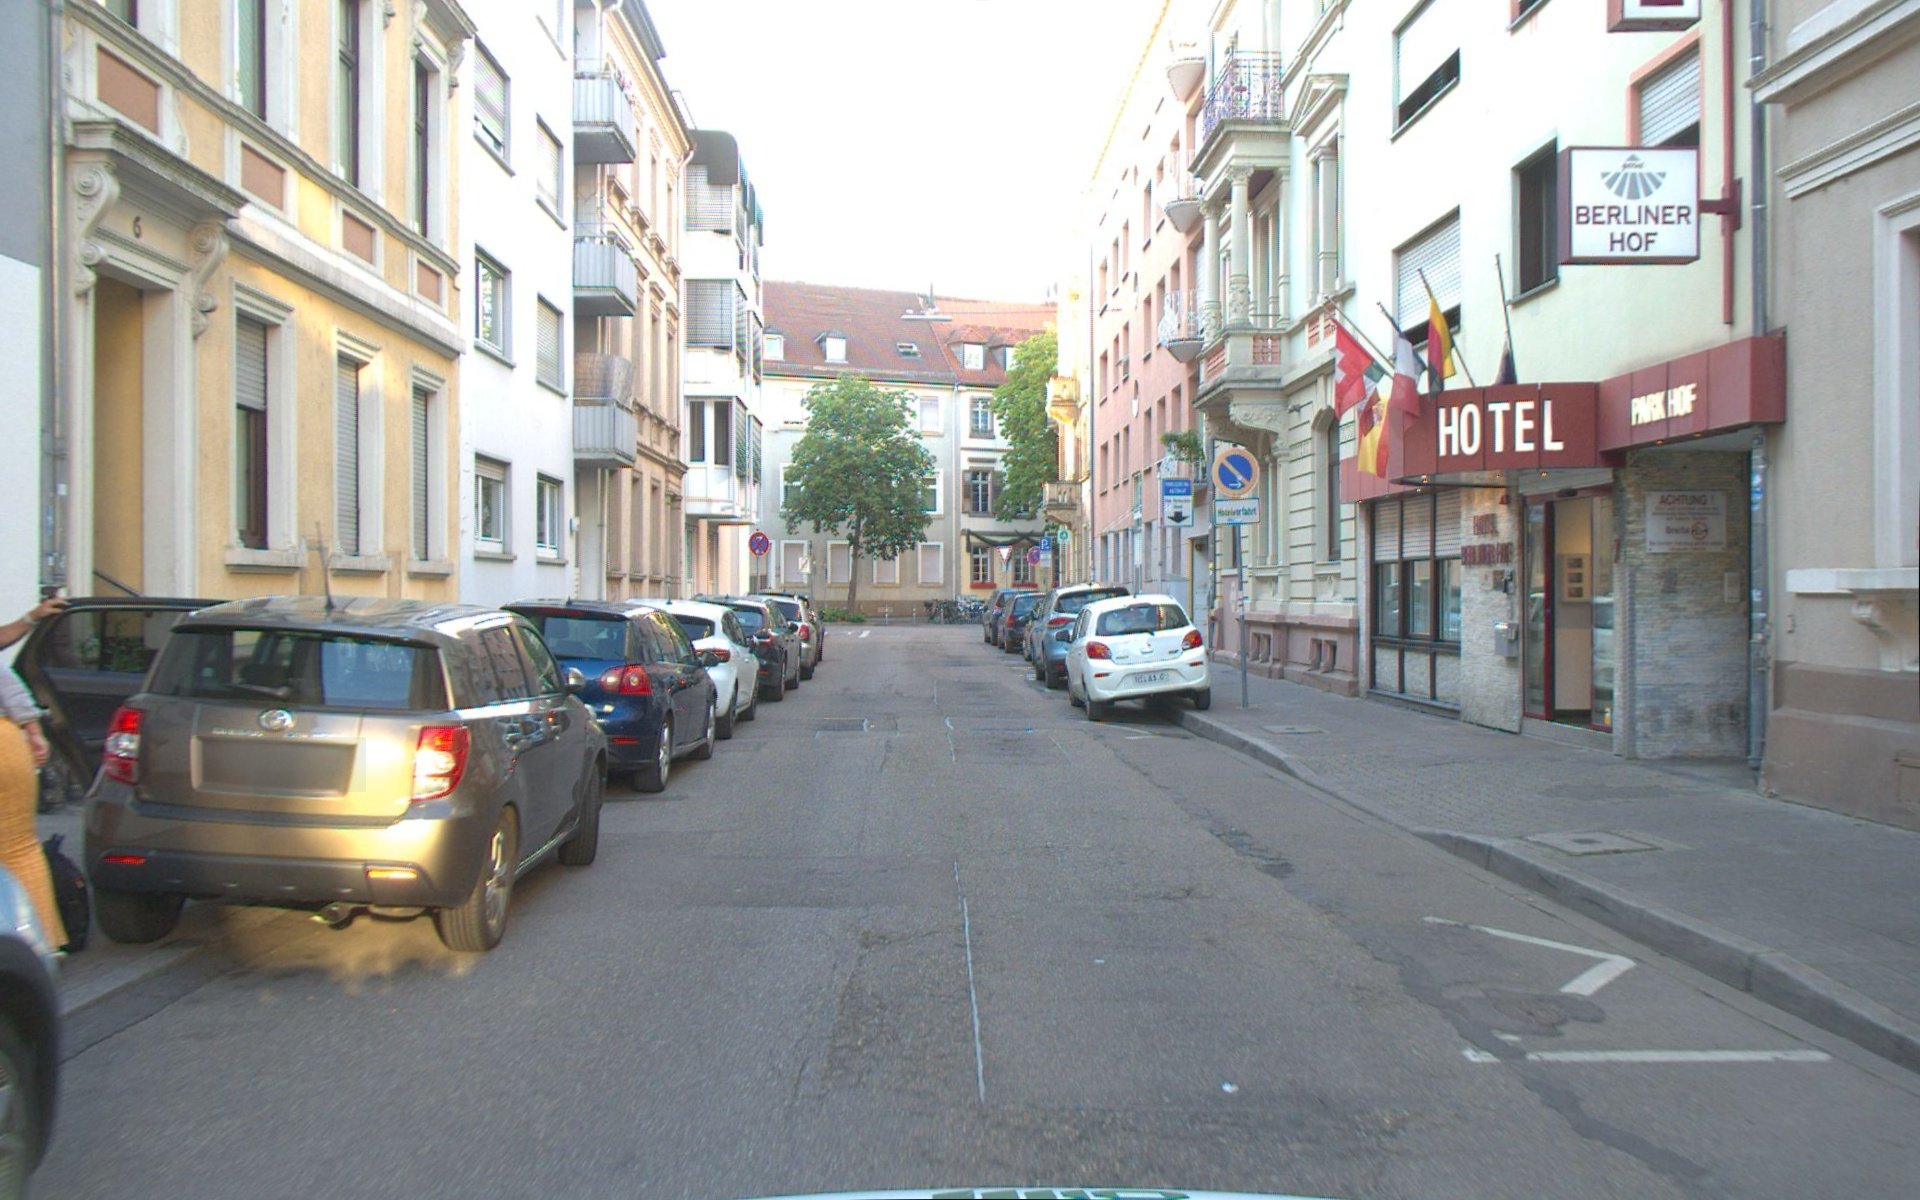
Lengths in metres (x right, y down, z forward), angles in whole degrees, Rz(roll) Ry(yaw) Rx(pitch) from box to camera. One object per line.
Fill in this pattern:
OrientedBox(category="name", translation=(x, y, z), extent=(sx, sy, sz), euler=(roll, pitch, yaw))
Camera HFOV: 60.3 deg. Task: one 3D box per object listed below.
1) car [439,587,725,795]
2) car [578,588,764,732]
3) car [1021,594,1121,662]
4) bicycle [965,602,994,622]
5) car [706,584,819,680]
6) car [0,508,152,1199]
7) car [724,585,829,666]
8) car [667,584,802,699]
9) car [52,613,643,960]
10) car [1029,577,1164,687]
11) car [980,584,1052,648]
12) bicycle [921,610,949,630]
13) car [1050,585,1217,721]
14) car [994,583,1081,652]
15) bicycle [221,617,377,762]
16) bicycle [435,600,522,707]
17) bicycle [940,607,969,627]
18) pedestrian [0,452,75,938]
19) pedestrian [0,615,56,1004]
OrientedBox(category="car", translation=(-3.135, 0.675, 14.470), extent=(1.693, 1.535, 3.829), euler=(0, 1, -1))
OrientedBox(category="car", translation=(-3.301, 0.628, 19.492), extent=(1.597, 1.498, 3.753), euler=(0, 1, -1))
OrientedBox(category="car", translation=(2.432, 0.589, 37.152), extent=(1.953, 1.408, 3.706), euler=(-1, 0, -1))
OrientedBox(category="bicycle", translation=(0.942, 0.580, 80.418), extent=(0.513, 0.965, 1.704), euler=(0, 0, -34))
OrientedBox(category="car", translation=(-3.693, 0.556, 31.615), extent=(1.954, 1.695, 4.405), euler=(0, 0, -5))
OrientedBox(category="car", translation=(-2.839, 0.635, 2.205), extent=(1.729, 1.591, 4.361), euler=(-1, 1, -6))
OrientedBox(category="car", translation=(-4.099, 0.539, 37.571), extent=(1.953, 1.691, 3.977), euler=(-1, 0, -1))
OrientedBox(category="car", translation=(-3.394, 0.564, 25.539), extent=(1.582, 1.597, 4.302), euler=(0, 1, -1))
OrientedBox(category="car", translation=(-2.827, 0.756, 8.643), extent=(1.649, 1.355, 4.130), euler=(0, 0, -2))
OrientedBox(category="car", translation=(2.292, 0.505, 28.705), extent=(1.953, 1.762, 4.058), euler=(-1, 0, -1))
OrientedBox(category="car", translation=(1.622, 0.442, 49.443), extent=(1.953, 1.792, 4.000), euler=(-1, 0, -1))
OrientedBox(category="bicycle", translation=(-1.228, 1.001, 81.207), extent=(0.513, 0.965, 1.704), euler=(0, -1, -34))
OrientedBox(category="car", translation=(2.237, 0.632, 22.236), extent=(1.629, 1.483, 3.758), euler=(-6, 1, -1))
OrientedBox(category="car", translation=(2.012, 0.429, 44.277), extent=(1.954, 1.738, 3.998), euler=(-1, 0, -3))
OrientedBox(category="bicycle", translation=(-5.715, 0.733, 14.423), extent=(0.523, 1.138, 2.129), euler=(-1, 0, -1))
OrientedBox(category="bicycle", translation=(-5.920, 0.629, 20.430), extent=(0.512, 1.221, 2.122), euler=(-2, 0, -2))
OrientedBox(category="bicycle", translation=(-0.277, 0.818, 79.779), extent=(0.513, 0.910, 1.705), euler=(-2, 3, -34))
OrientedBox(category="pedestrian", translation=(-4.462, 0.403, 7.288), extent=(0.783, 2.049, 0.773), euler=(0, 0, -12))
OrientedBox(category="pedestrian", translation=(-3.847, 0.780, 6.350), extent=(0.653, 1.435, 0.666), euler=(0, 0, -29))
